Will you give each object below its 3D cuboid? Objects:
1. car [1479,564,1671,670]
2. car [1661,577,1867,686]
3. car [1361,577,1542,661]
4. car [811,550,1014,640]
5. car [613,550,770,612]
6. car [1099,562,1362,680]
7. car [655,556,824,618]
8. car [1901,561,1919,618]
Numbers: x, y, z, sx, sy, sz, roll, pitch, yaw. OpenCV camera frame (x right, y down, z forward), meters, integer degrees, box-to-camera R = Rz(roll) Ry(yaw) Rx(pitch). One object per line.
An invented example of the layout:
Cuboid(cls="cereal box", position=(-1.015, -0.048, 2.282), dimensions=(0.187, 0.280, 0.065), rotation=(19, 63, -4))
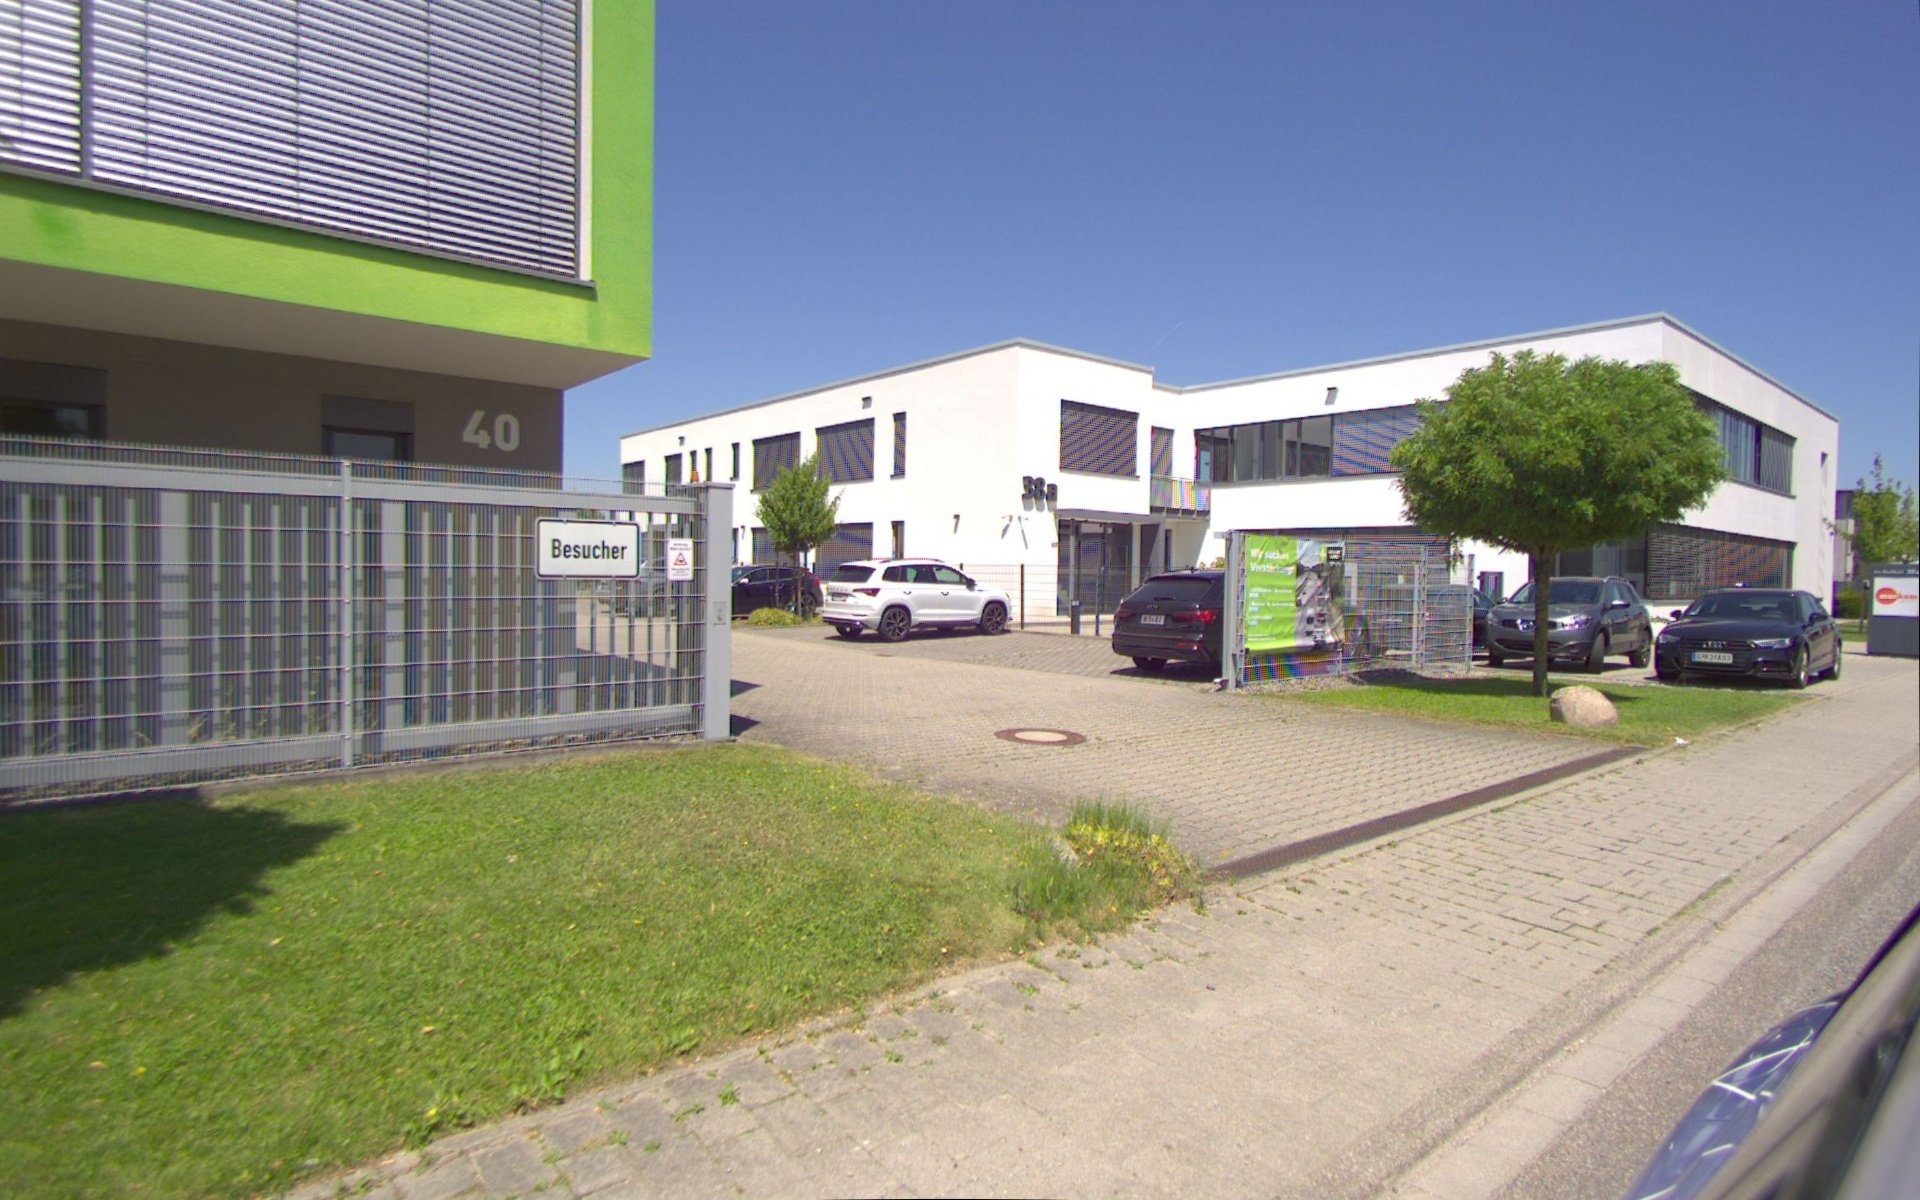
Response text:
Cuboid(cls="car", position=(10.833, 0.237, 17.741), dimensions=(3.951, 1.653, 1.726), rotation=(-1, 1, -40))
Cuboid(cls="car", position=(12.408, 0.390, 15.526), dimensions=(4.171, 1.446, 1.695), rotation=(-1, 1, -40))
Cuboid(cls="car", position=(9.589, 0.301, 19.644), dimensions=(3.951, 1.467, 1.726), rotation=(-1, 1, -40))
Cuboid(cls="car", position=(-0.917, -0.191, 20.931), dimensions=(3.985, 1.656, 1.742), rotation=(-3, 4, -41))
Cuboid(cls="car", position=(-7.623, -0.603, 28.960), dimensions=(3.985, 1.624, 1.742), rotation=(-3, 4, -41))
Cuboid(cls="car", position=(3.990, 0.189, 14.637), dimensions=(3.985, 1.415, 1.742), rotation=(-3, 4, -41))
Cuboid(cls="car", position=(-5.755, -0.395, 26.654), dimensions=(3.985, 1.447, 1.742), rotation=(-3, 4, -41))
Cuboid(cls="car", position=(38.343, -0.317, 39.355), dimensions=(5.699, 2.039, 1.997), rotation=(2, 1, -42))
